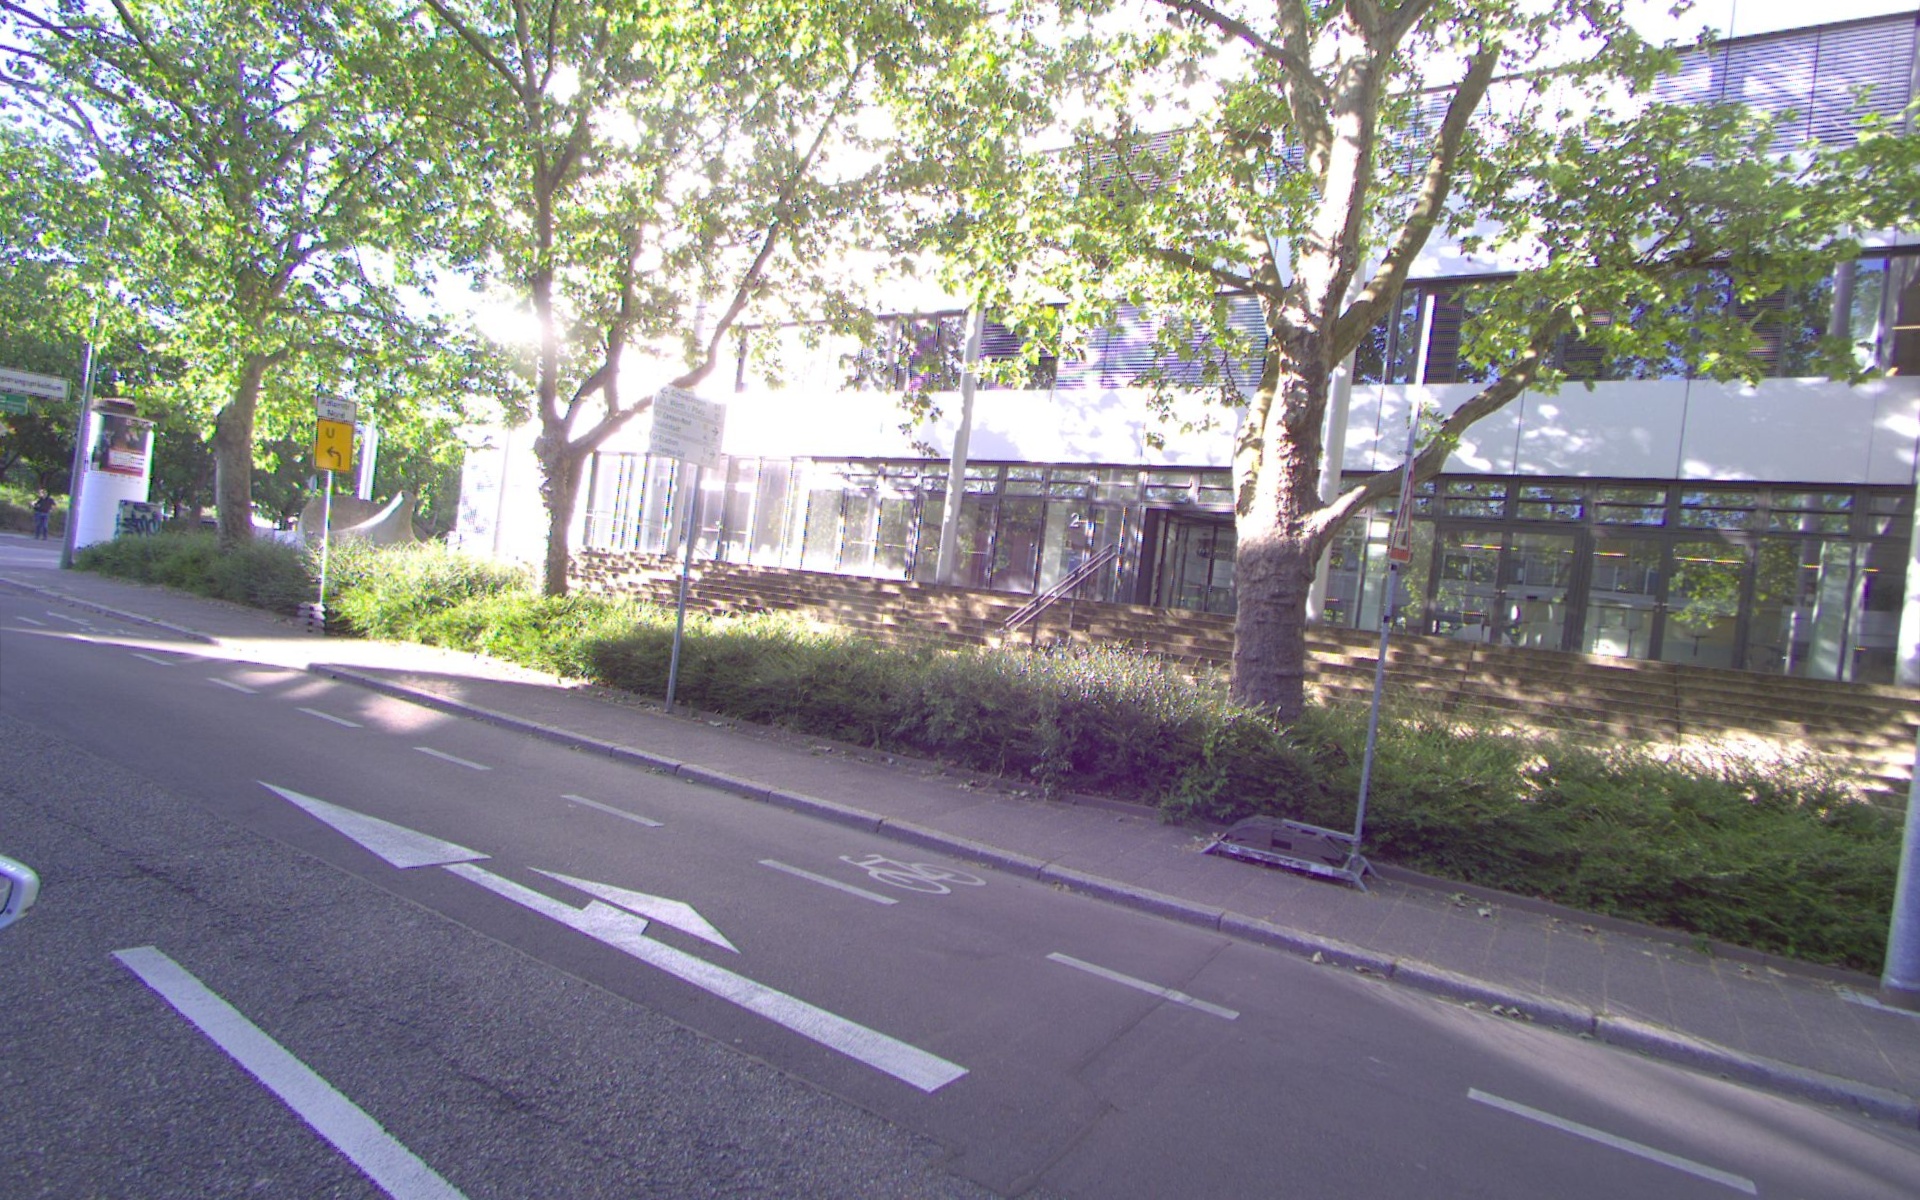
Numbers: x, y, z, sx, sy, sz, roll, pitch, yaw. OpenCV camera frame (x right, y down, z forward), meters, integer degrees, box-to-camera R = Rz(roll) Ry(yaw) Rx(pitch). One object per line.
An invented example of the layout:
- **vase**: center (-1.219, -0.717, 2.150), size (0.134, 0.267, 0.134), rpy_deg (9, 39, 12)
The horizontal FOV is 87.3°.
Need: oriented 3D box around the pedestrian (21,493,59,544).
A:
- **pedestrian**: center (-34.953, -3.098, 38.245), size (0.730, 1.799, 0.724), rpy_deg (8, -1, -28)
